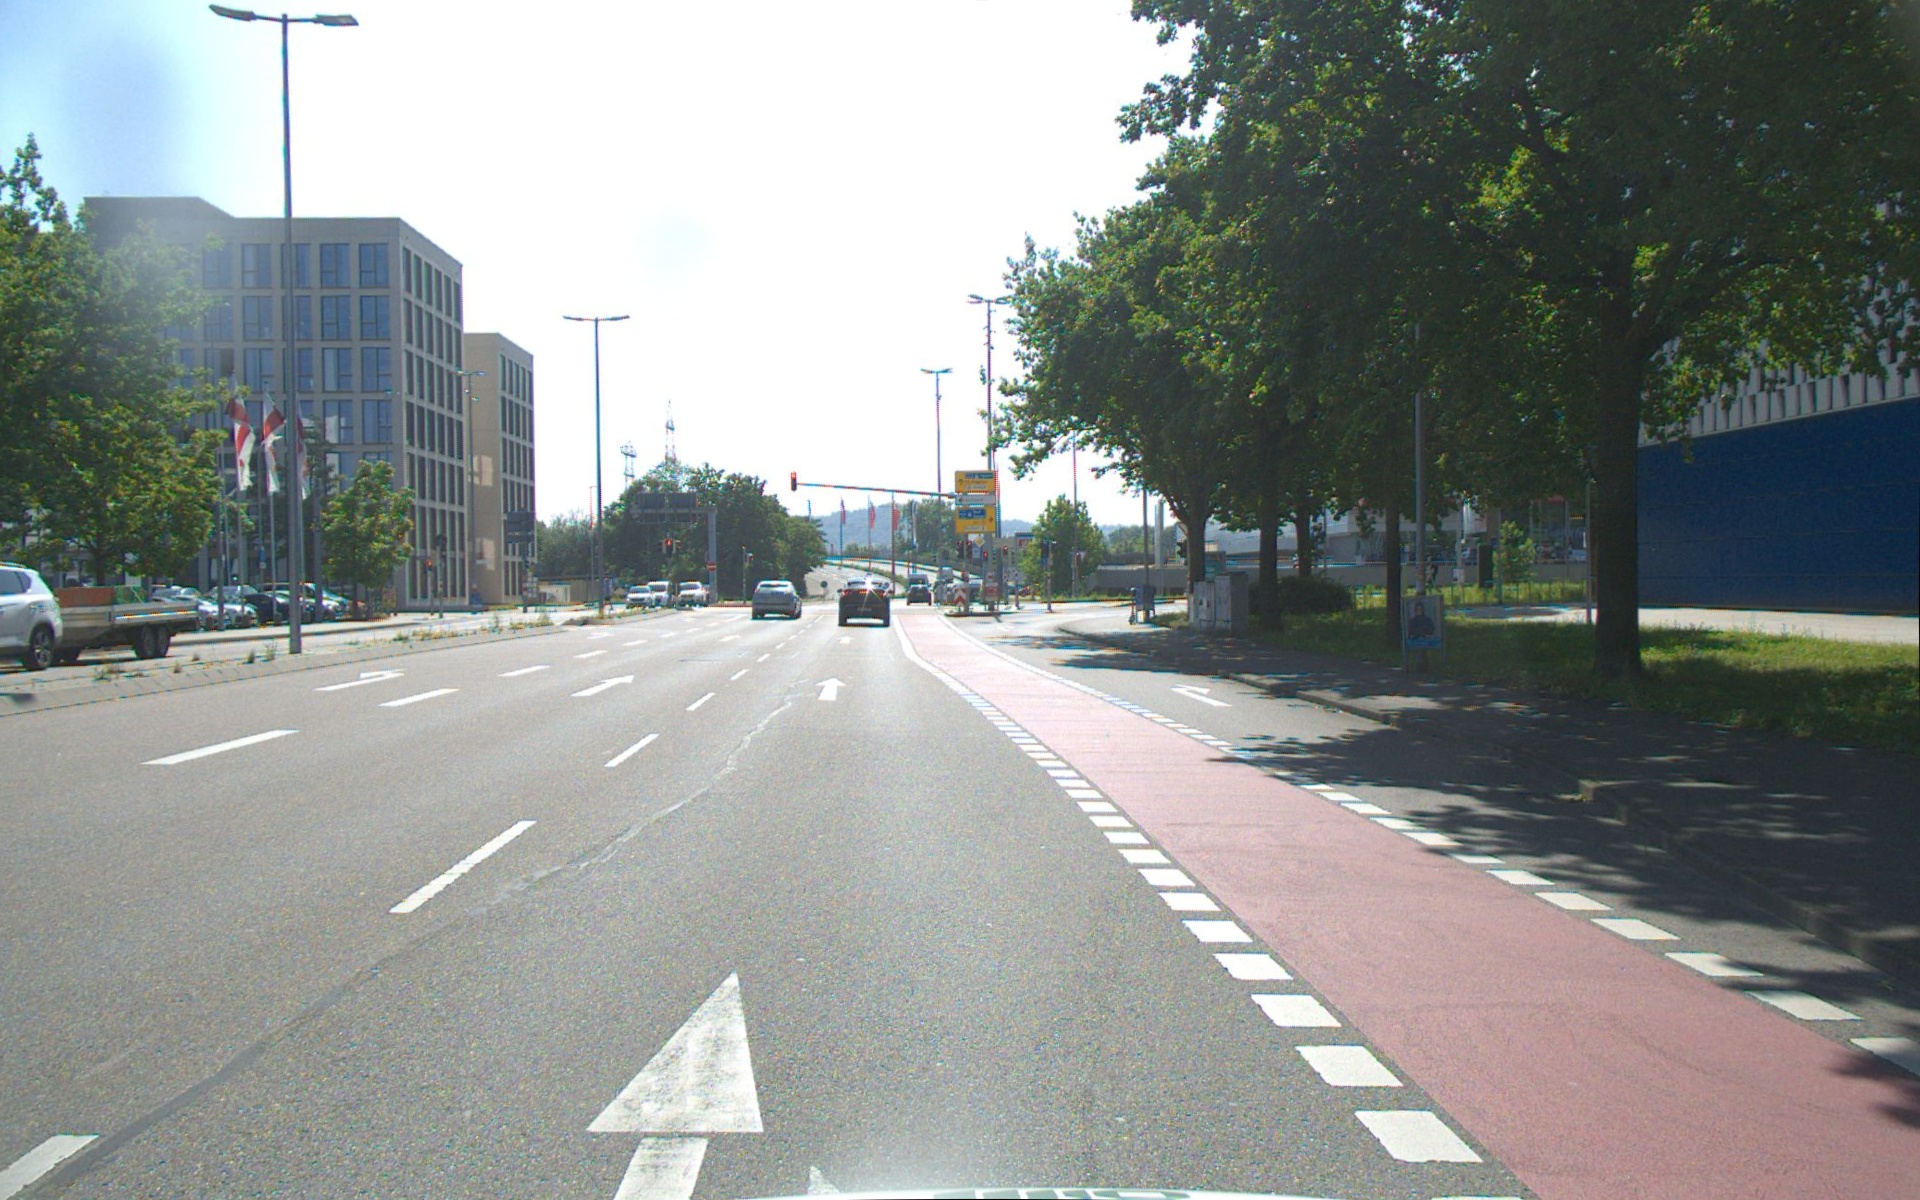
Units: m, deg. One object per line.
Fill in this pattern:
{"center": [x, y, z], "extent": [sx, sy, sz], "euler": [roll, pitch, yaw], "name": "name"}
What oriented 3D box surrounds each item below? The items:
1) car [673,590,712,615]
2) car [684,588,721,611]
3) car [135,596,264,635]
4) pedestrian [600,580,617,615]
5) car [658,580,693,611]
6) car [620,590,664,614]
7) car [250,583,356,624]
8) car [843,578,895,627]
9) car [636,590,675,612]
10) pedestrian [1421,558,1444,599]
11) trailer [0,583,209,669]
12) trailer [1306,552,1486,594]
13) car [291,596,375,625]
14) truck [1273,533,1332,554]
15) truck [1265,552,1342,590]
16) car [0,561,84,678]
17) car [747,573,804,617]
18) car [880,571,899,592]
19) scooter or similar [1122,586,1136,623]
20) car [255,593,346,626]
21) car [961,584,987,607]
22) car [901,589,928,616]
{"center": [-17.492, 0.150, 108.342], "extent": [1.778, 1.489, 4.001], "euler": [-1, 0, 2], "name": "car"}
{"center": [-17.953, -0.055, 115.299], "extent": [1.778, 1.489, 4.001], "euler": [-1, 0, 2], "name": "car"}
{"center": [-28.704, 0.564, 62.536], "extent": [3.908, 1.366, 1.999], "euler": [-1, 1, -4], "name": "car"}
{"center": [-21.243, -0.140, 99.946], "extent": [0.747, 2.048, 0.926], "euler": [1, 2, -27], "name": "pedestrian"}
{"center": [-13.293, -0.236, 77.417], "extent": [1.190, 1.354, 2.799], "euler": [1, 2, -1], "name": "car"}
{"center": [-20.551, 0.124, 107.019], "extent": [1.852, 1.489, 4.001], "euler": [-1, 0, 2], "name": "car"}
{"center": [-35.089, 0.167, 88.362], "extent": [4.815, 2.086, 2.000], "euler": [-1, 0, -1], "name": "car"}
{"center": [-3.305, 0.050, 59.673], "extent": [1.771, 1.668, 4.456], "euler": [-1, 1, -4], "name": "car"}
{"center": [-21.072, 0.053, 114.493], "extent": [1.778, 1.489, 4.001], "euler": [-1, 0, 2], "name": "car"}
{"center": [21.018, -0.934, 73.585], "extent": [0.616, 1.800, 0.803], "euler": [-1, 0, -13], "name": "pedestrian"}
{"center": [-16.675, 0.440, 32.066], "extent": [1.954, 1.478, 5.767], "euler": [-1, 1, -4], "name": "trailer"}
{"center": [29.590, -1.842, 112.401], "extent": [11.625, 2.512, 2.001], "euler": [1, 2, 2], "name": "trailer"}
{"center": [-34.747, 0.553, 91.718], "extent": [3.906, 1.489, 2.000], "euler": [-1, 0, -1], "name": "car"}
{"center": [36.089, -5.959, 174.482], "extent": [5.789, 2.048, 2.000], "euler": [1, 2, -1], "name": "truck"}
{"center": [23.333, -1.983, 112.564], "extent": [4.779, 2.466, 2.001], "euler": [1, 2, 1], "name": "truck"}
{"center": [-16.273, 0.327, 26.647], "extent": [1.954, 1.864, 4.933], "euler": [-1, 1, -4], "name": "car"}
{"center": [-7.448, -0.219, 67.065], "extent": [1.953, 1.713, 3.999], "euler": [-1, 1, -2], "name": "car"}
{"center": [-7.515, -1.984, 176.801], "extent": [1.953, 2.048, 3.980], "euler": [1, 2, -2], "name": "car"}
{"center": [5.886, 0.157, 57.506], "extent": [0.343, 1.255, 1.312], "euler": [-1, 0, 11], "name": "scooter or similar"}
{"center": [-29.214, 0.422, 73.369], "extent": [3.342, 1.366, 1.645], "euler": [-1, 1, 0], "name": "car"}
{"center": [0.910, -0.308, 112.491], "extent": [1.654, 1.382, 4.000], "euler": [1, 2, -1], "name": "car"}
{"center": [-3.284, 0.180, 118.614], "extent": [1.723, 1.789, 3.599], "euler": [1, 2, -5], "name": "car"}
